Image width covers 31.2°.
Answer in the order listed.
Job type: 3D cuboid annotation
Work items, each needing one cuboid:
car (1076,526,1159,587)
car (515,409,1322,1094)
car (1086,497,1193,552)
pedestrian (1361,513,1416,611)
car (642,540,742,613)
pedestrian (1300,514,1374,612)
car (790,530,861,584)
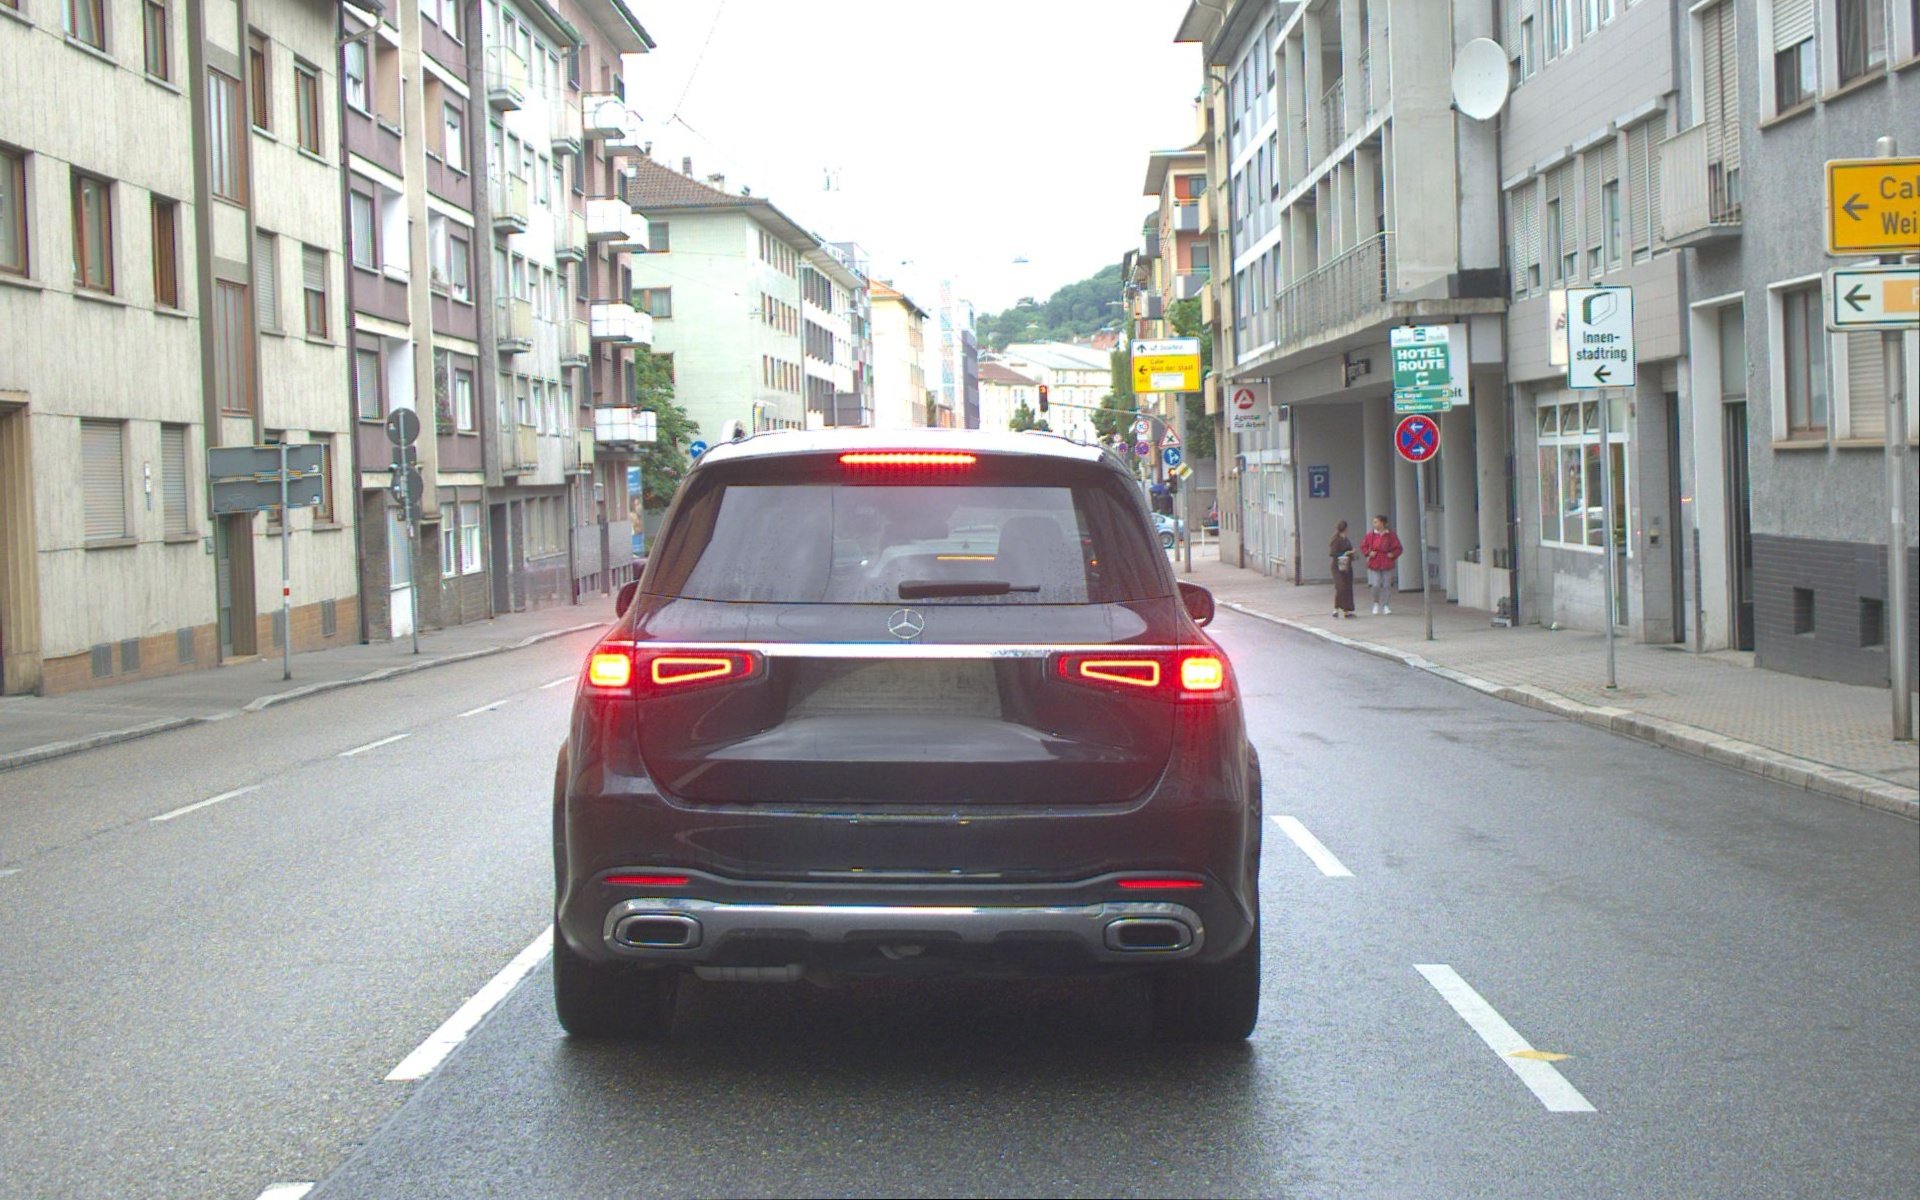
[{"bbox_3d":[3.772,-1.076,83.088,1.734,1.383,4.583,0,2,-1],"label":"car"},{"bbox_3d":[-0.137,0.316,11.200,2.076,1.759,4.612,0,2,-1],"label":"car"},{"bbox_3d":[6.785,-2.856,129.614,3.987,2.006,2.000,0,2,3],"label":"car"},{"bbox_3d":[6.886,-0.617,55.259,0.821,1.560,0.899,0,2,5],"label":"pedestrian"},{"bbox_3d":[-5.726,-0.526,73.894,1.891,1.453,4.550,0,2,-1],"label":"car"},{"bbox_3d":[6.080,-0.603,55.426,0.821,1.560,0.900,-1,2,-28],"label":"pedestrian"},{"bbox_3d":[-3.789,-1.239,97.758,1.891,1.453,4.550,0,2,-1],"label":"car"}]
